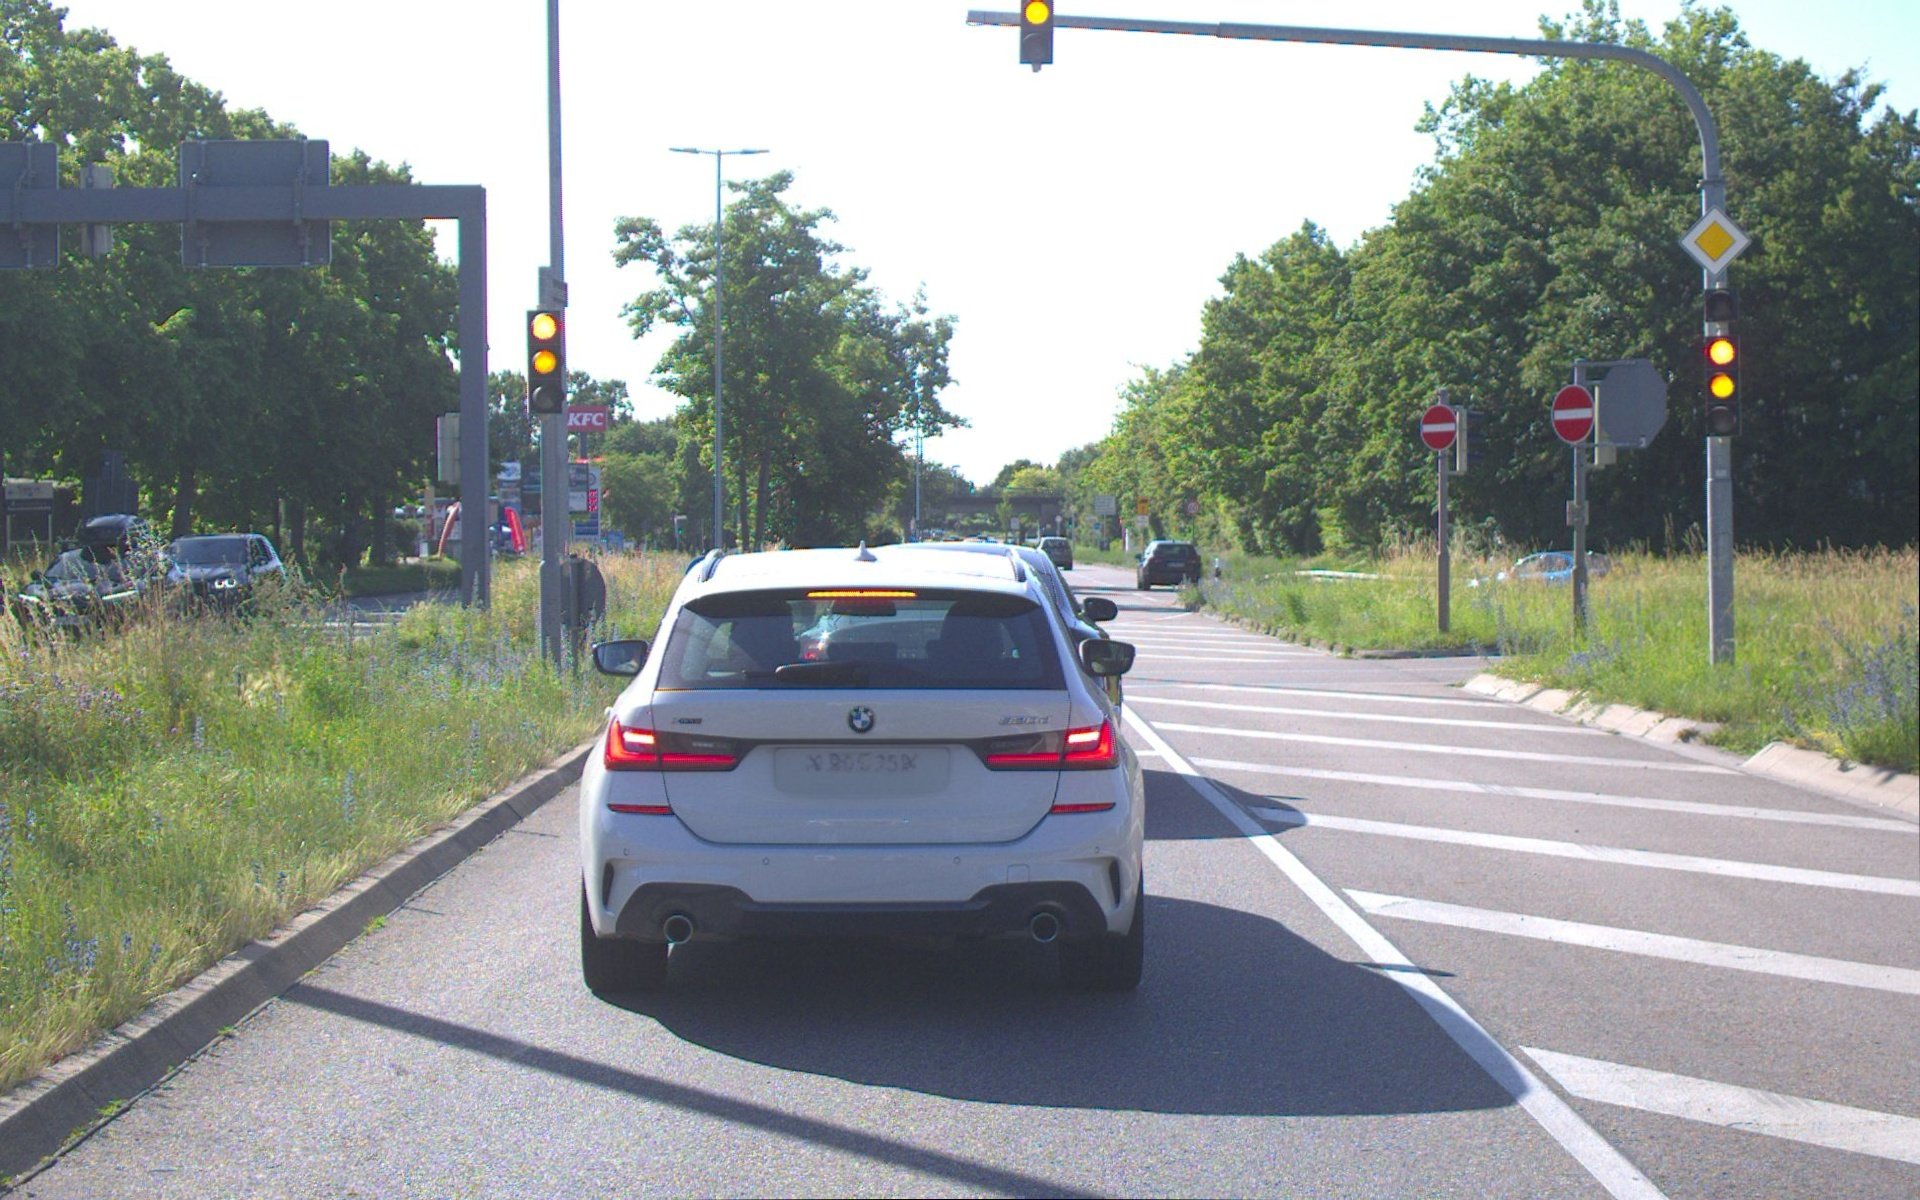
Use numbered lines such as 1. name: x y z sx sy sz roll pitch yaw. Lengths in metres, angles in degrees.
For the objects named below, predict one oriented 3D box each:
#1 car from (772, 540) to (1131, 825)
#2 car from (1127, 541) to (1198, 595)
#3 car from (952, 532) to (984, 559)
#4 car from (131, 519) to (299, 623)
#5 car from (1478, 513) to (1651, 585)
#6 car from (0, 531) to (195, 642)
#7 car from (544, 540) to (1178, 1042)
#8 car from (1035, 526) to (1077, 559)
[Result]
1. car: -0.060 0.392 20.202 1.861 1.450 4.548 -1 1 0
2. car: 6.066 -0.978 103.197 1.771 1.550 3.833 -1 1 -2
3. car: 0.488 -3.322 208.723 1.861 1.560 4.548 -1 1 0
4. car: -13.167 -0.548 61.007 1.942 1.691 4.630 -2 2 0
5. car: 12.899 -1.106 73.614 1.861 1.494 4.338 0 1 -18
6. car: -13.021 -0.241 51.919 1.876 1.537 4.573 -2 1 0
7. car: -0.286 0.526 12.453 1.861 1.450 4.548 -1 1 0
8. car: 4.675 -2.812 168.023 1.861 1.560 4.548 -1 1 0
